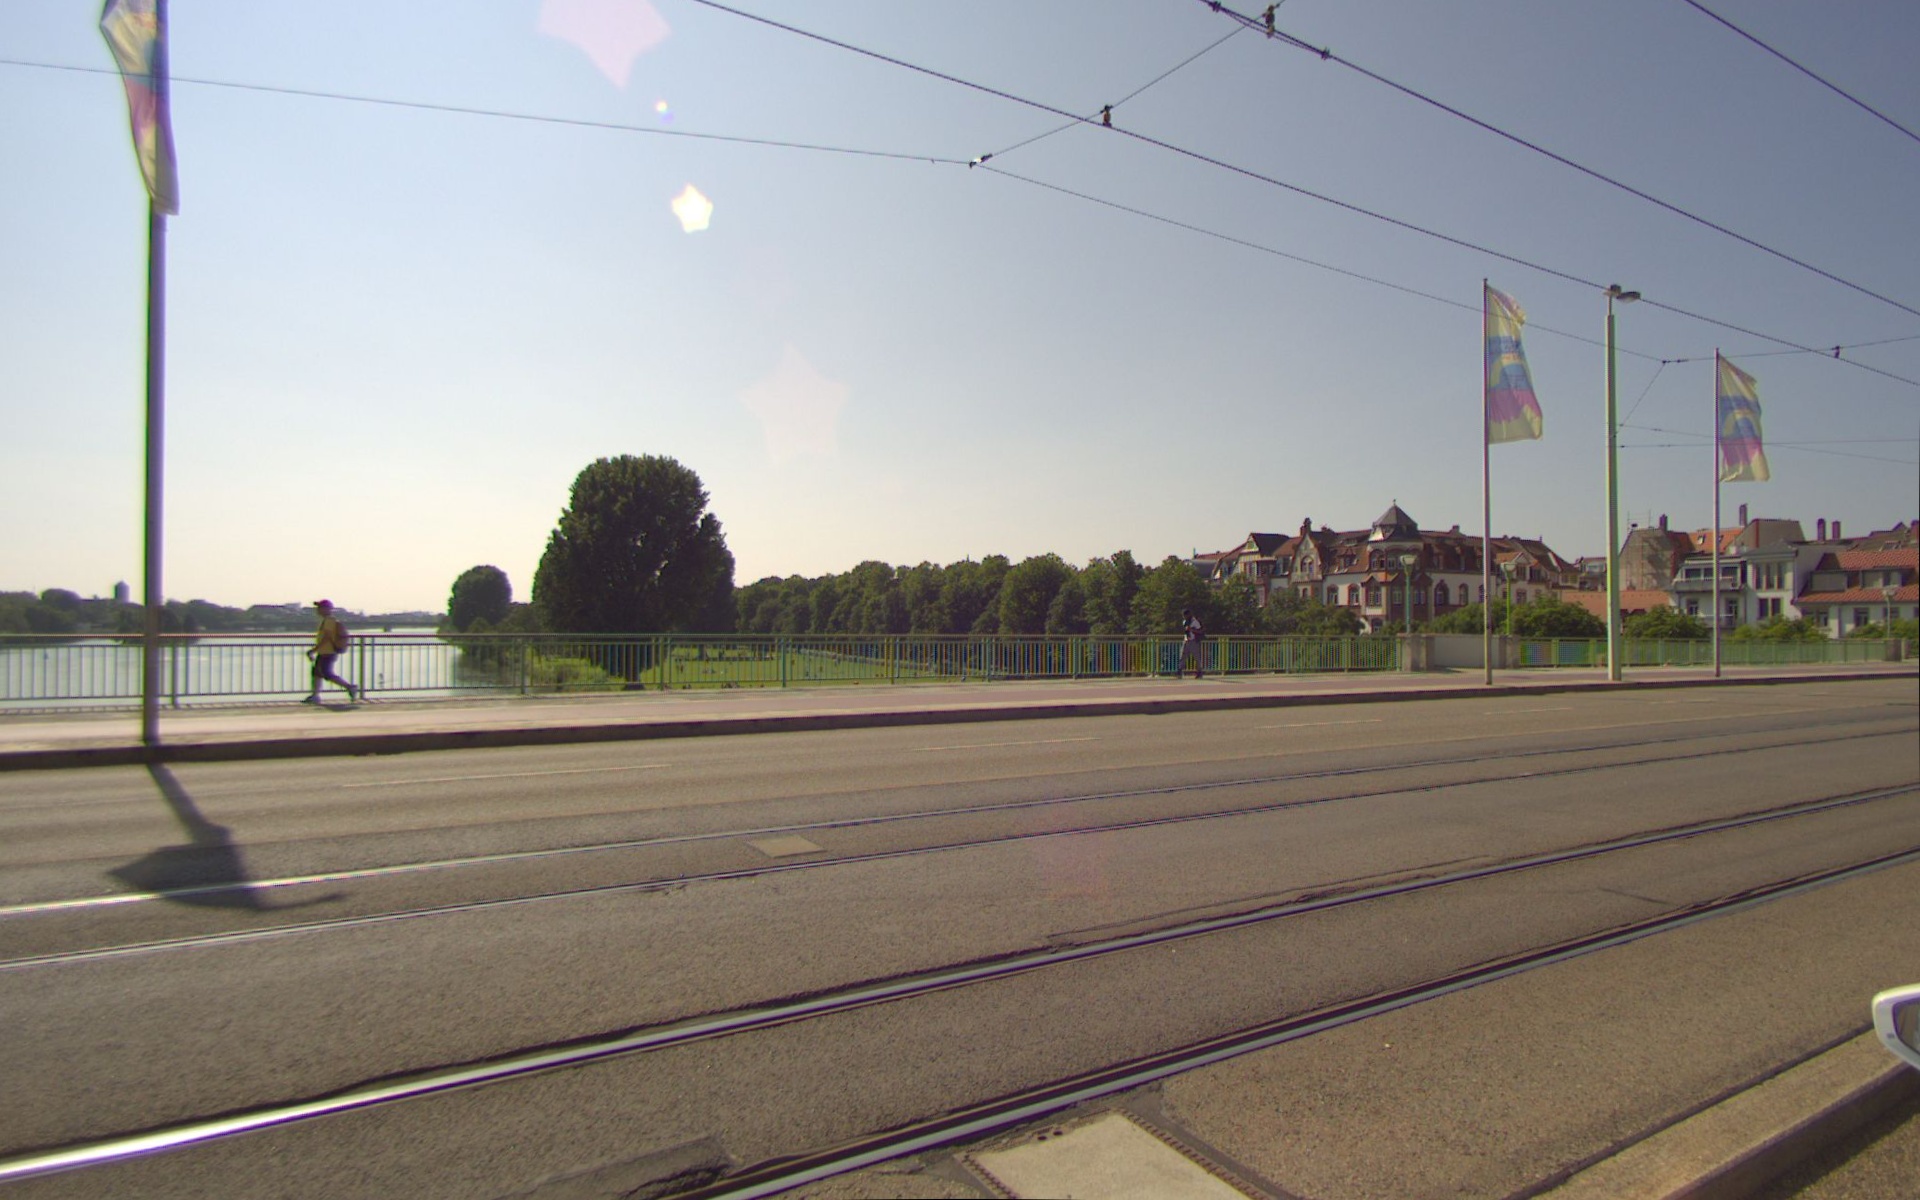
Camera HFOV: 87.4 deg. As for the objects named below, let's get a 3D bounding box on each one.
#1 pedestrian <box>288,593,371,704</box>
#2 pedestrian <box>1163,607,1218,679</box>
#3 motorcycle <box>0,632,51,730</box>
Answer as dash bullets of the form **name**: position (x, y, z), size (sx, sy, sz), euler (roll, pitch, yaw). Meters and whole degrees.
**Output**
- **pedestrian**: position (-9.971, 0.746, 15.928), size (1.015, 1.680, 0.895), euler (1, 0, -28)
- **pedestrian**: position (5.751, 1.060, 25.121), size (1.081, 1.745, 0.826), euler (1, -1, -30)
- **motorcycle**: position (-11.981, 0.940, 11.551), size (2.154, 1.125, 0.697), euler (1, -1, -31)
